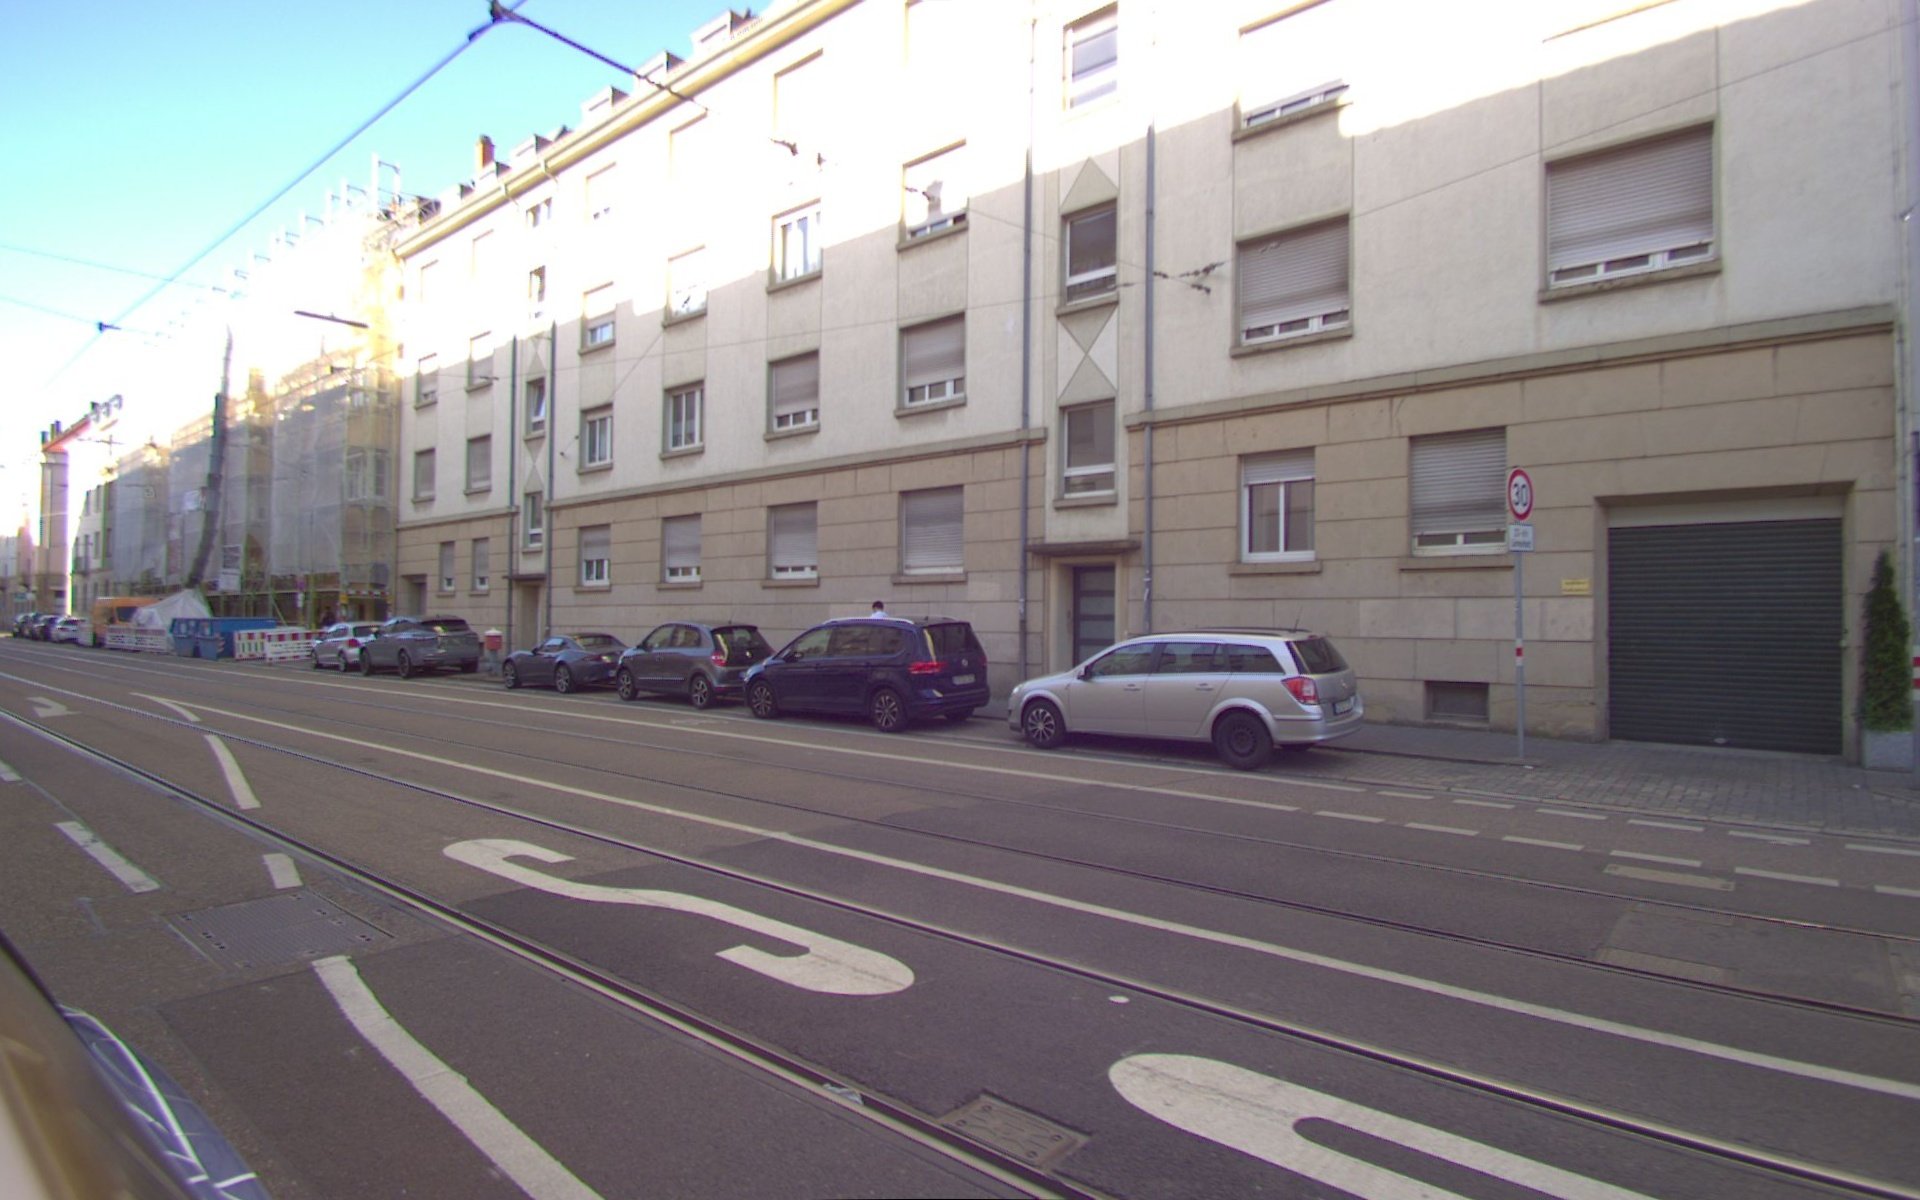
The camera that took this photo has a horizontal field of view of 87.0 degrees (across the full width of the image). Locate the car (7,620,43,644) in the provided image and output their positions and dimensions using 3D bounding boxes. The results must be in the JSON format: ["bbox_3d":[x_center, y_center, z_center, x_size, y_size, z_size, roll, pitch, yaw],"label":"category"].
[{"bbox_3d":[-65.783,2.223,71.218,3.599,1.538,1.512,0,0,42],"label":"car"}]

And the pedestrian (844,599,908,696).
[{"bbox_3d":[-1.600,0.876,19.270,1.003,1.781,0.657,0,0,34],"label":"pedestrian"}]

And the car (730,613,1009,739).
[{"bbox_3d":[-1.503,1.063,15.834,4.321,1.645,1.796,0,1,39],"label":"car"}]

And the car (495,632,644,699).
[{"bbox_3d":[-8.516,1.362,21.974,3.520,1.229,1.457,0,1,39],"label":"car"}]

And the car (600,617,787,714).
[{"bbox_3d":[-5.051,1.148,18.988,3.593,1.570,1.622,0,1,41],"label":"car"}]

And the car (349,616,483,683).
[{"bbox_3d":[-14.809,1.275,27.483,4.155,1.621,1.730,0,1,39],"label":"car"}]

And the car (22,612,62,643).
[{"bbox_3d":[-61.985,1.826,68.339,4.183,1.971,1.549,0,0,42],"label":"car"}]

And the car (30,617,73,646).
[{"bbox_3d":[-57.210,1.937,63.723,3.935,1.696,1.549,0,0,42],"label":"car"}]

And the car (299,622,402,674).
[{"bbox_3d":[-18.291,1.391,30.337,3.504,1.390,1.545,0,1,39],"label":"car"}]

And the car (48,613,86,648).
[{"bbox_3d":[-52.773,1.781,59.822,1.634,1.937,3.770,-1,0,-42],"label":"car"}]

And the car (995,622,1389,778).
[{"bbox_3d":[2.684,1.061,12.315,4.367,1.465,1.708,0,1,39],"label":"car"}]

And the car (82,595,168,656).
[{"bbox_3d":[-39.597,1.133,47.933,5.870,2.717,2.186,0,0,41],"label":"car"}]

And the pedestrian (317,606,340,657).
[{"bbox_3d":[-23.903,1.171,38.301,0.762,1.886,0.512,0,0,41],"label":"pedestrian"}]
